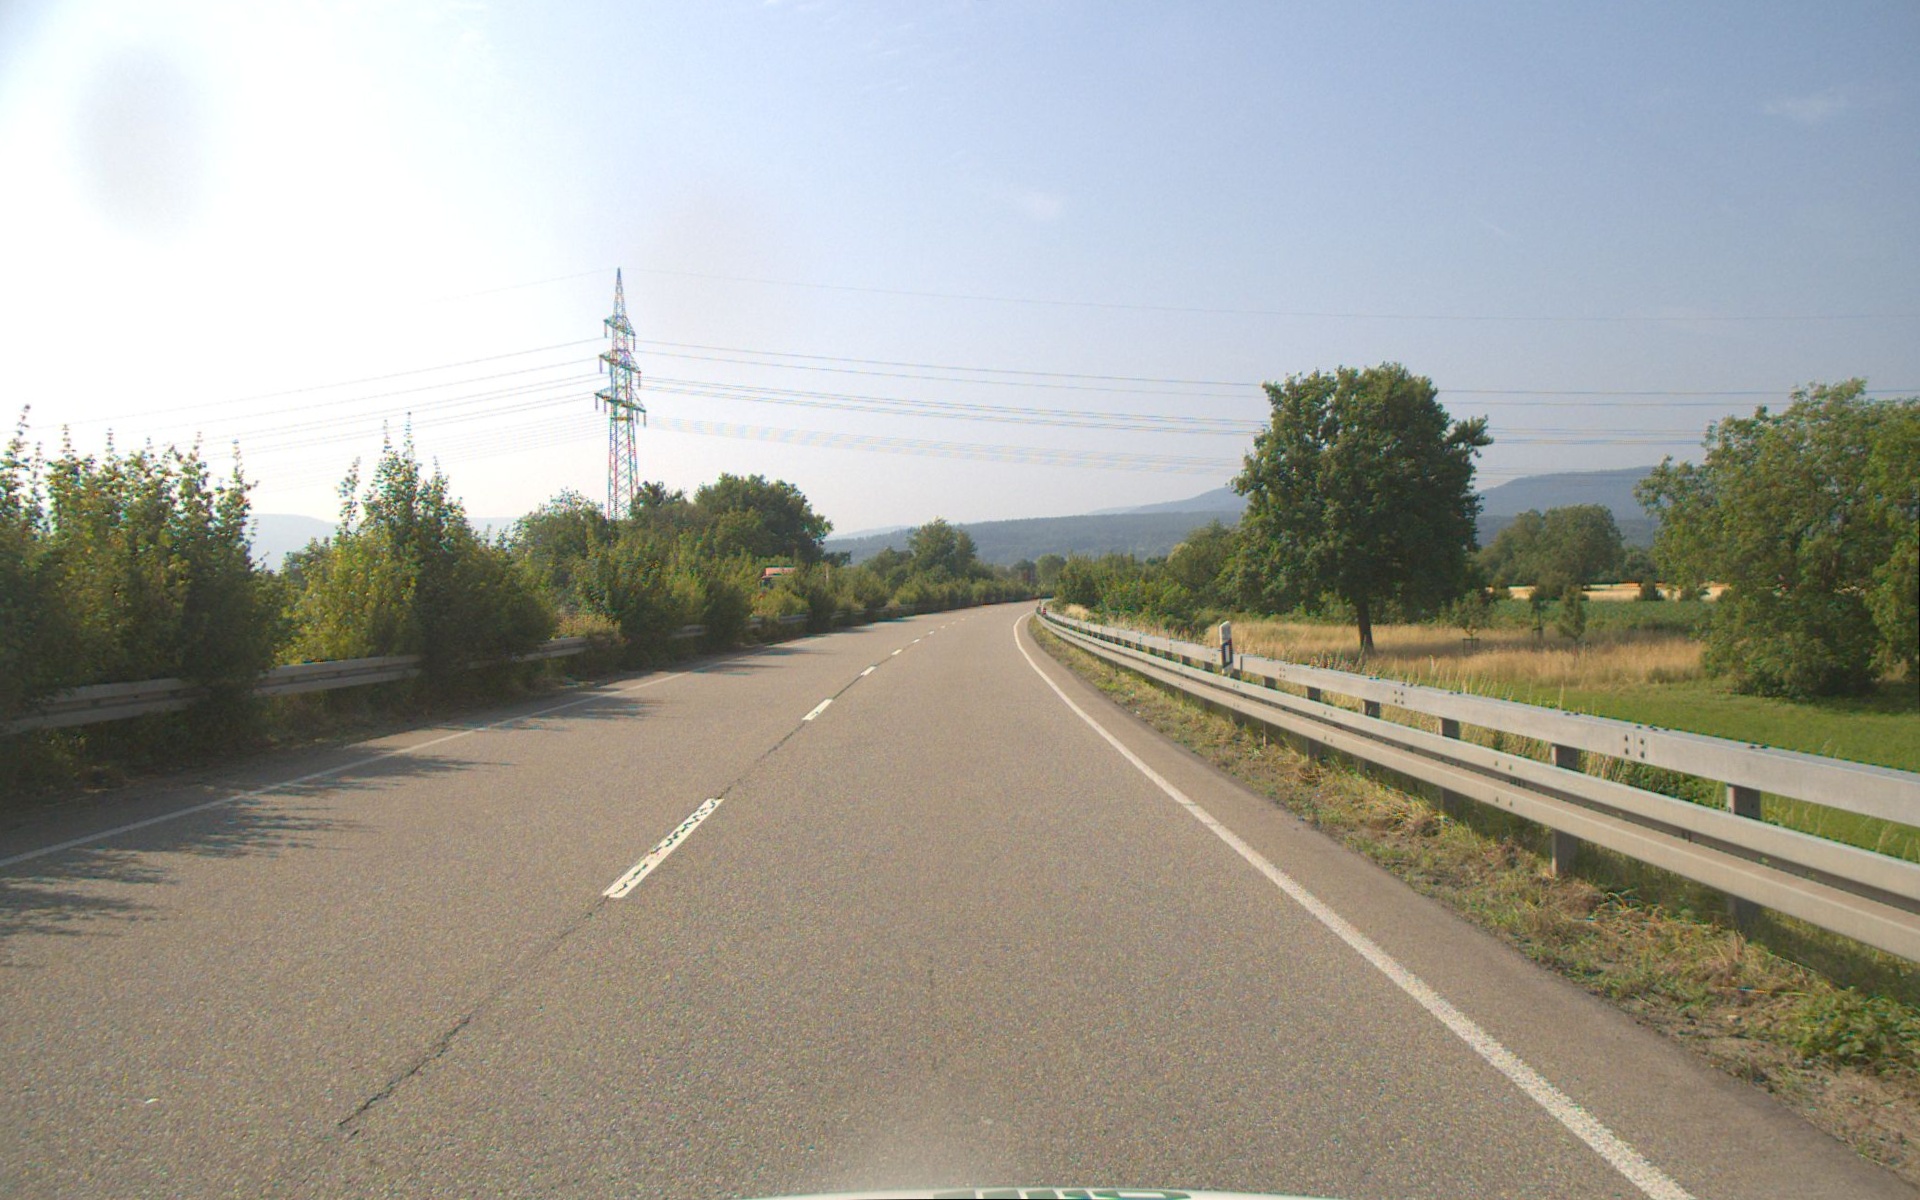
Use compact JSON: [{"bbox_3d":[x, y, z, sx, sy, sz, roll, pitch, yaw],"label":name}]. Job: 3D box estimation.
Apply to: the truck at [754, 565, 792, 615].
[{"bbox_3d":[-13.182,-0.716,116.745,1.952,3.435,5.629,0,0,0],"label":"truck"}]
